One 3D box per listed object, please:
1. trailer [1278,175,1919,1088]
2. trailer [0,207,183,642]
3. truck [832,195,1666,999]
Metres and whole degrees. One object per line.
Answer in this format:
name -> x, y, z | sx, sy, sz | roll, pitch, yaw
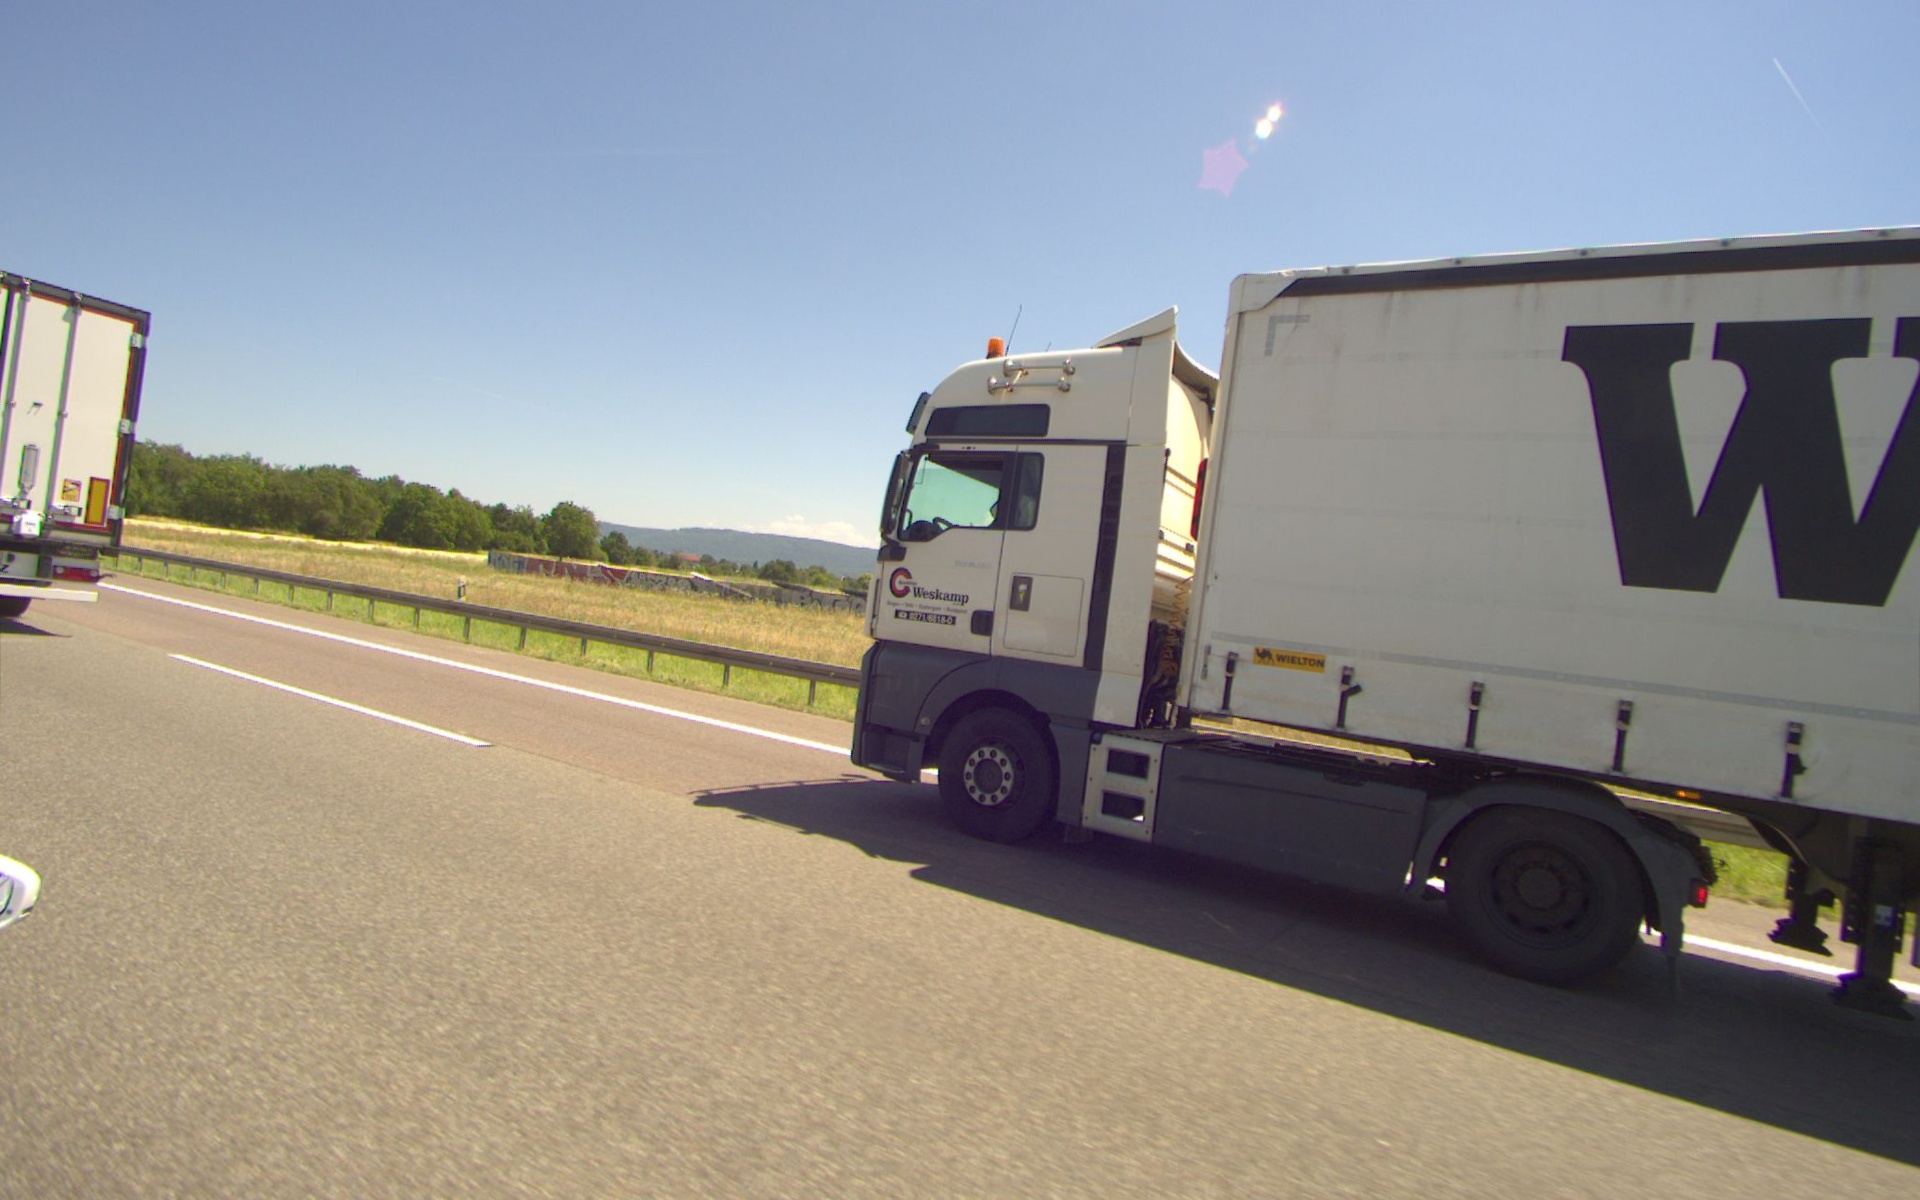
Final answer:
trailer -> 8.556, 0.557, 3.850 | 13.412, 4.301, 2.601 | 6, -2, 31
trailer -> -16.439, -2.596, 15.068 | 13.760, 4.712, 2.905 | 6, -1, 33
truck -> 2.028, -0.134, 7.763 | 5.004, 4.306, 2.605 | 7, -1, 31
